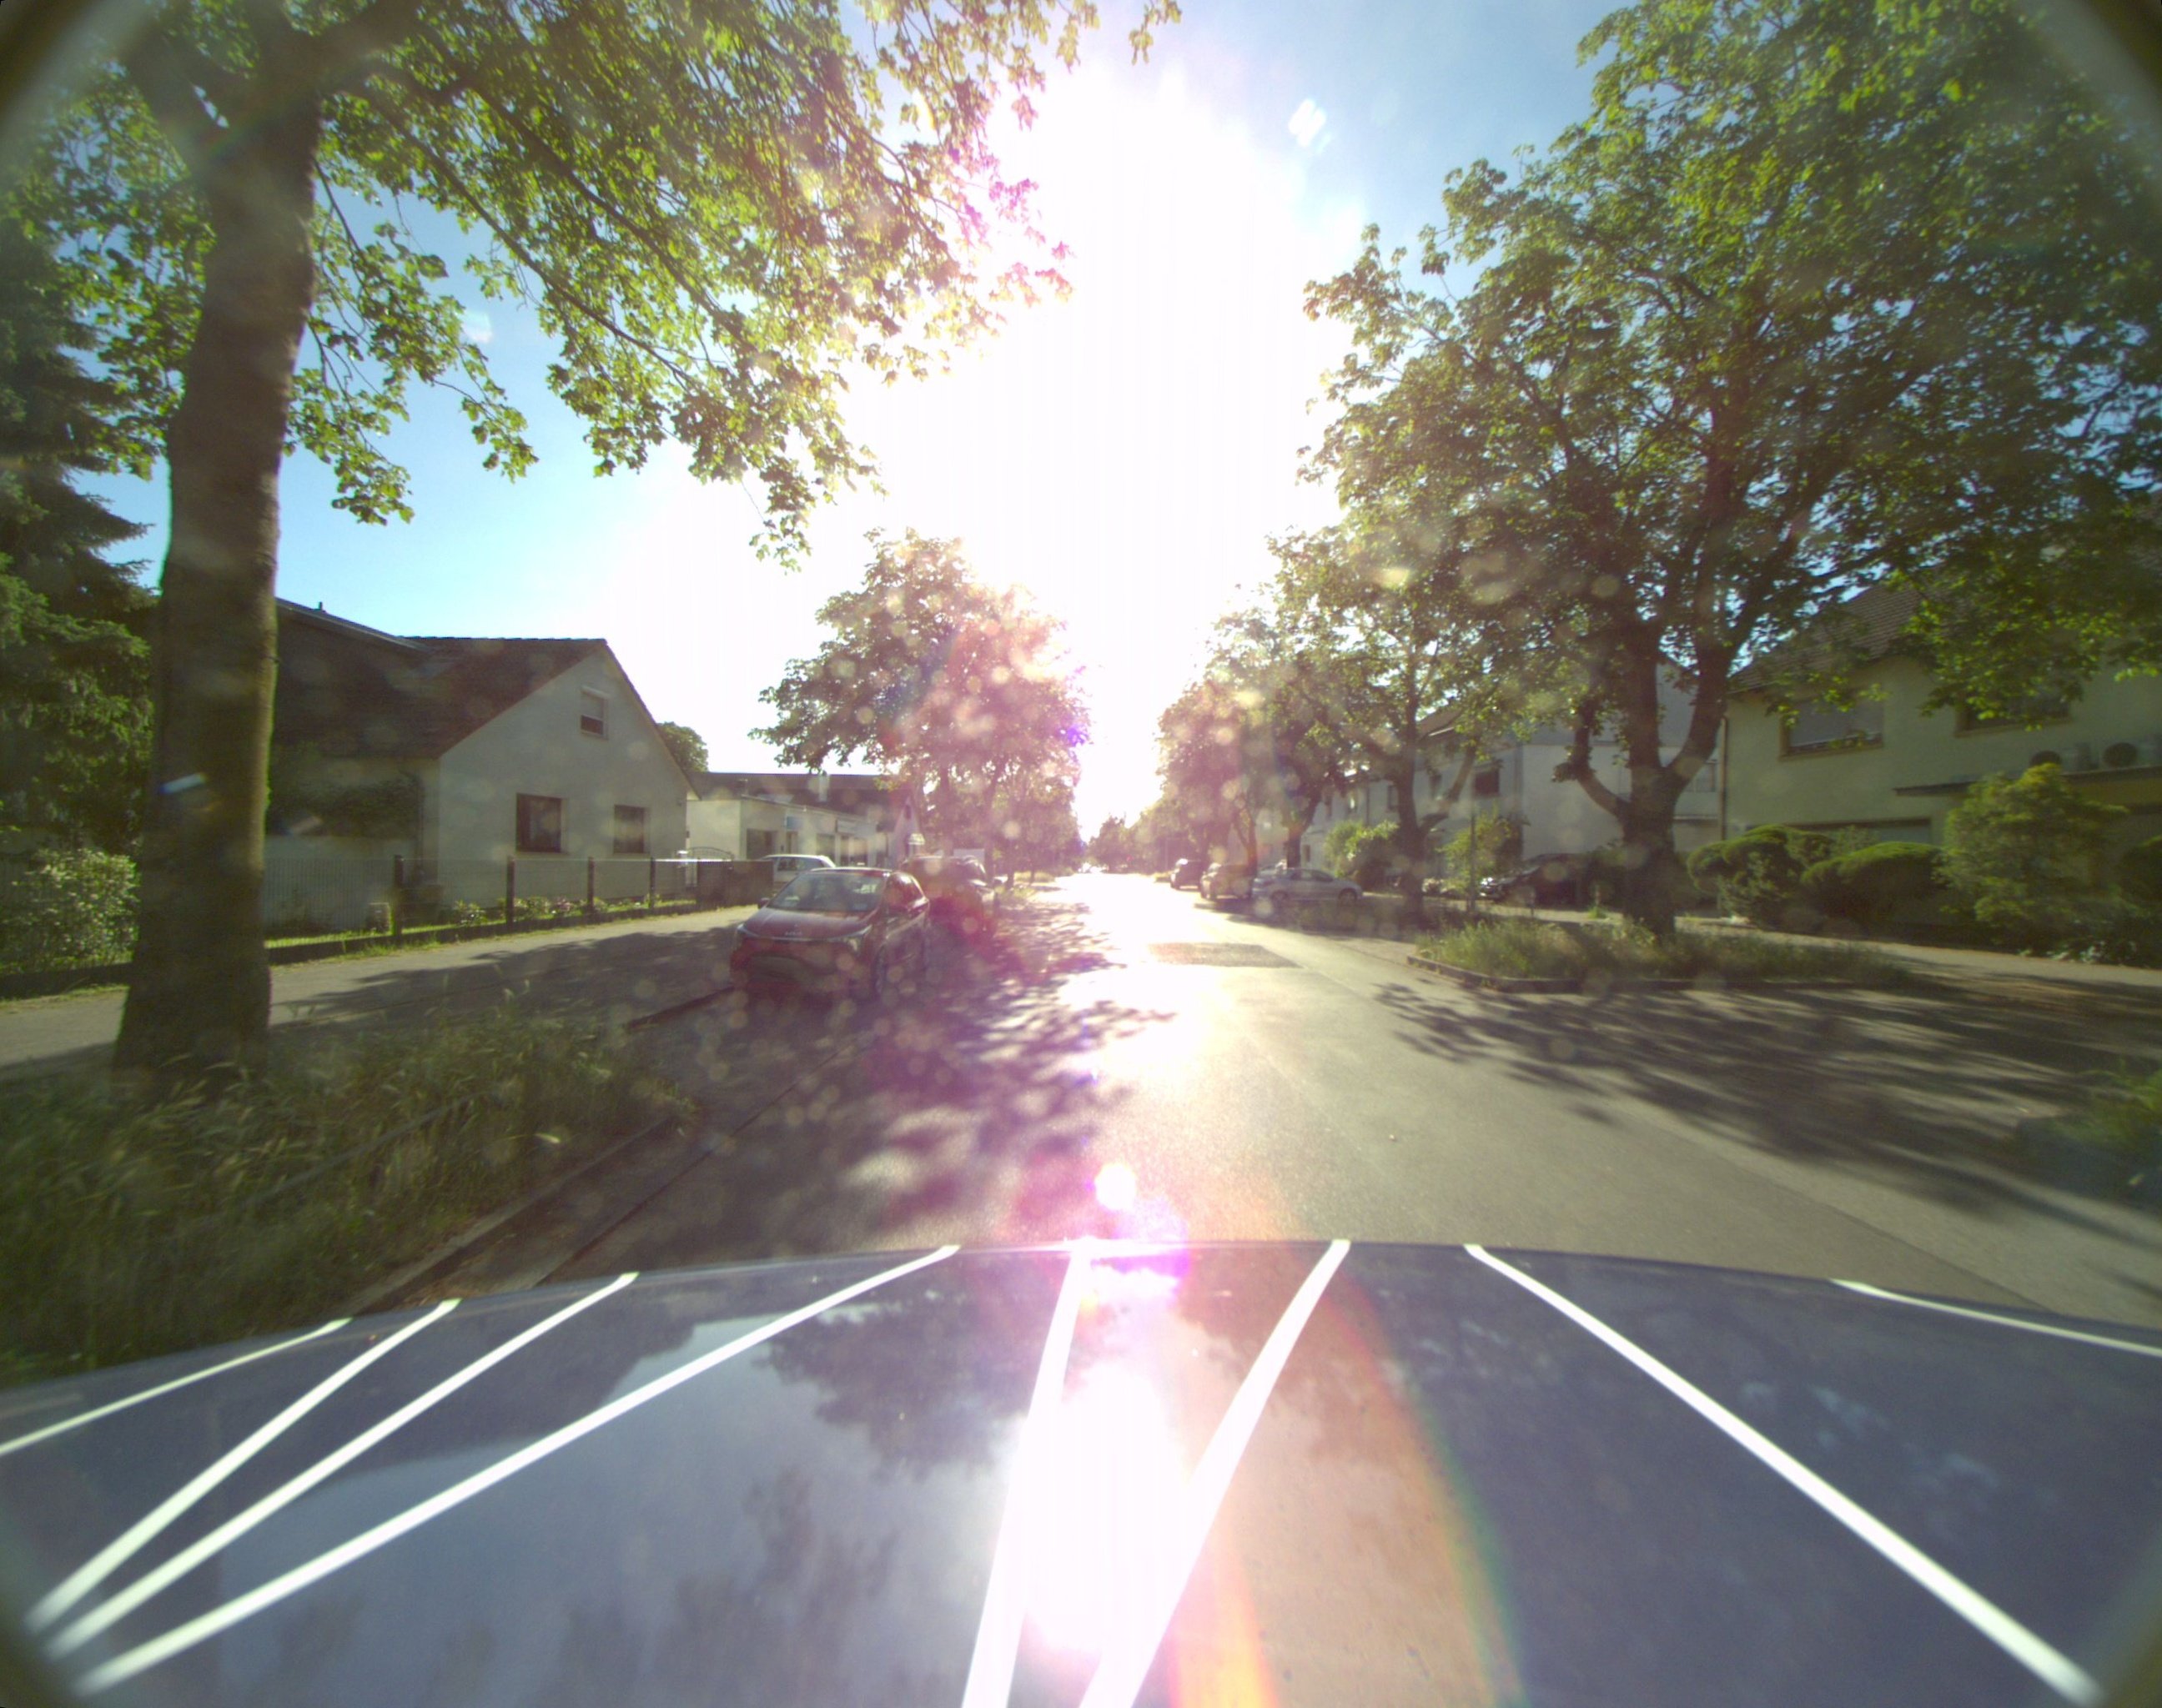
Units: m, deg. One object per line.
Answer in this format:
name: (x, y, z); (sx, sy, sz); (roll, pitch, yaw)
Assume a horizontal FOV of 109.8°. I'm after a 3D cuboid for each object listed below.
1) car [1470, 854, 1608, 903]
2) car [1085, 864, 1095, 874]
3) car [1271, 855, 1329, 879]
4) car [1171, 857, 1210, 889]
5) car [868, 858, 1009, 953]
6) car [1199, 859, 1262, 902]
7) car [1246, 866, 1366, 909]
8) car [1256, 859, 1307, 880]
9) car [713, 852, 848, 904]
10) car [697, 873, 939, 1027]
car: (16.089, 0.841, 26.819); (3.773, 1.556, 1.691); (1, 1, 4)
car: (1.513, 2.471, 127.044); (1.539, 1.582, 3.458); (-3, 1, 2)
car: (17.498, 1.039, 60.751); (3.997, 1.674, 2.000); (-3, 1, 0)
car: (6.157, 1.022, 43.095); (1.815, 1.722, 4.056); (0, 0, 2)
car: (-2.778, 0.939, 15.877); (1.941, 1.684, 4.363); (0, 0, 2)
car: (6.167, 1.042, 31.779); (1.998, 1.530, 3.695); (-3, 1, 2)
car: (7.913, 1.148, 26.897); (3.695, 1.315, 1.624); (-2, 1, -5)
car: (18.098, 1.399, 68.720); (3.997, 1.674, 2.000); (-3, 1, 0)
car: (-9.648, 0.752, 24.605); (3.622, 1.431, 1.695); (-3, 1, -3)
car: (-3.064, 1.033, 9.715); (1.690, 1.414, 3.777); (1, 1, 1)
